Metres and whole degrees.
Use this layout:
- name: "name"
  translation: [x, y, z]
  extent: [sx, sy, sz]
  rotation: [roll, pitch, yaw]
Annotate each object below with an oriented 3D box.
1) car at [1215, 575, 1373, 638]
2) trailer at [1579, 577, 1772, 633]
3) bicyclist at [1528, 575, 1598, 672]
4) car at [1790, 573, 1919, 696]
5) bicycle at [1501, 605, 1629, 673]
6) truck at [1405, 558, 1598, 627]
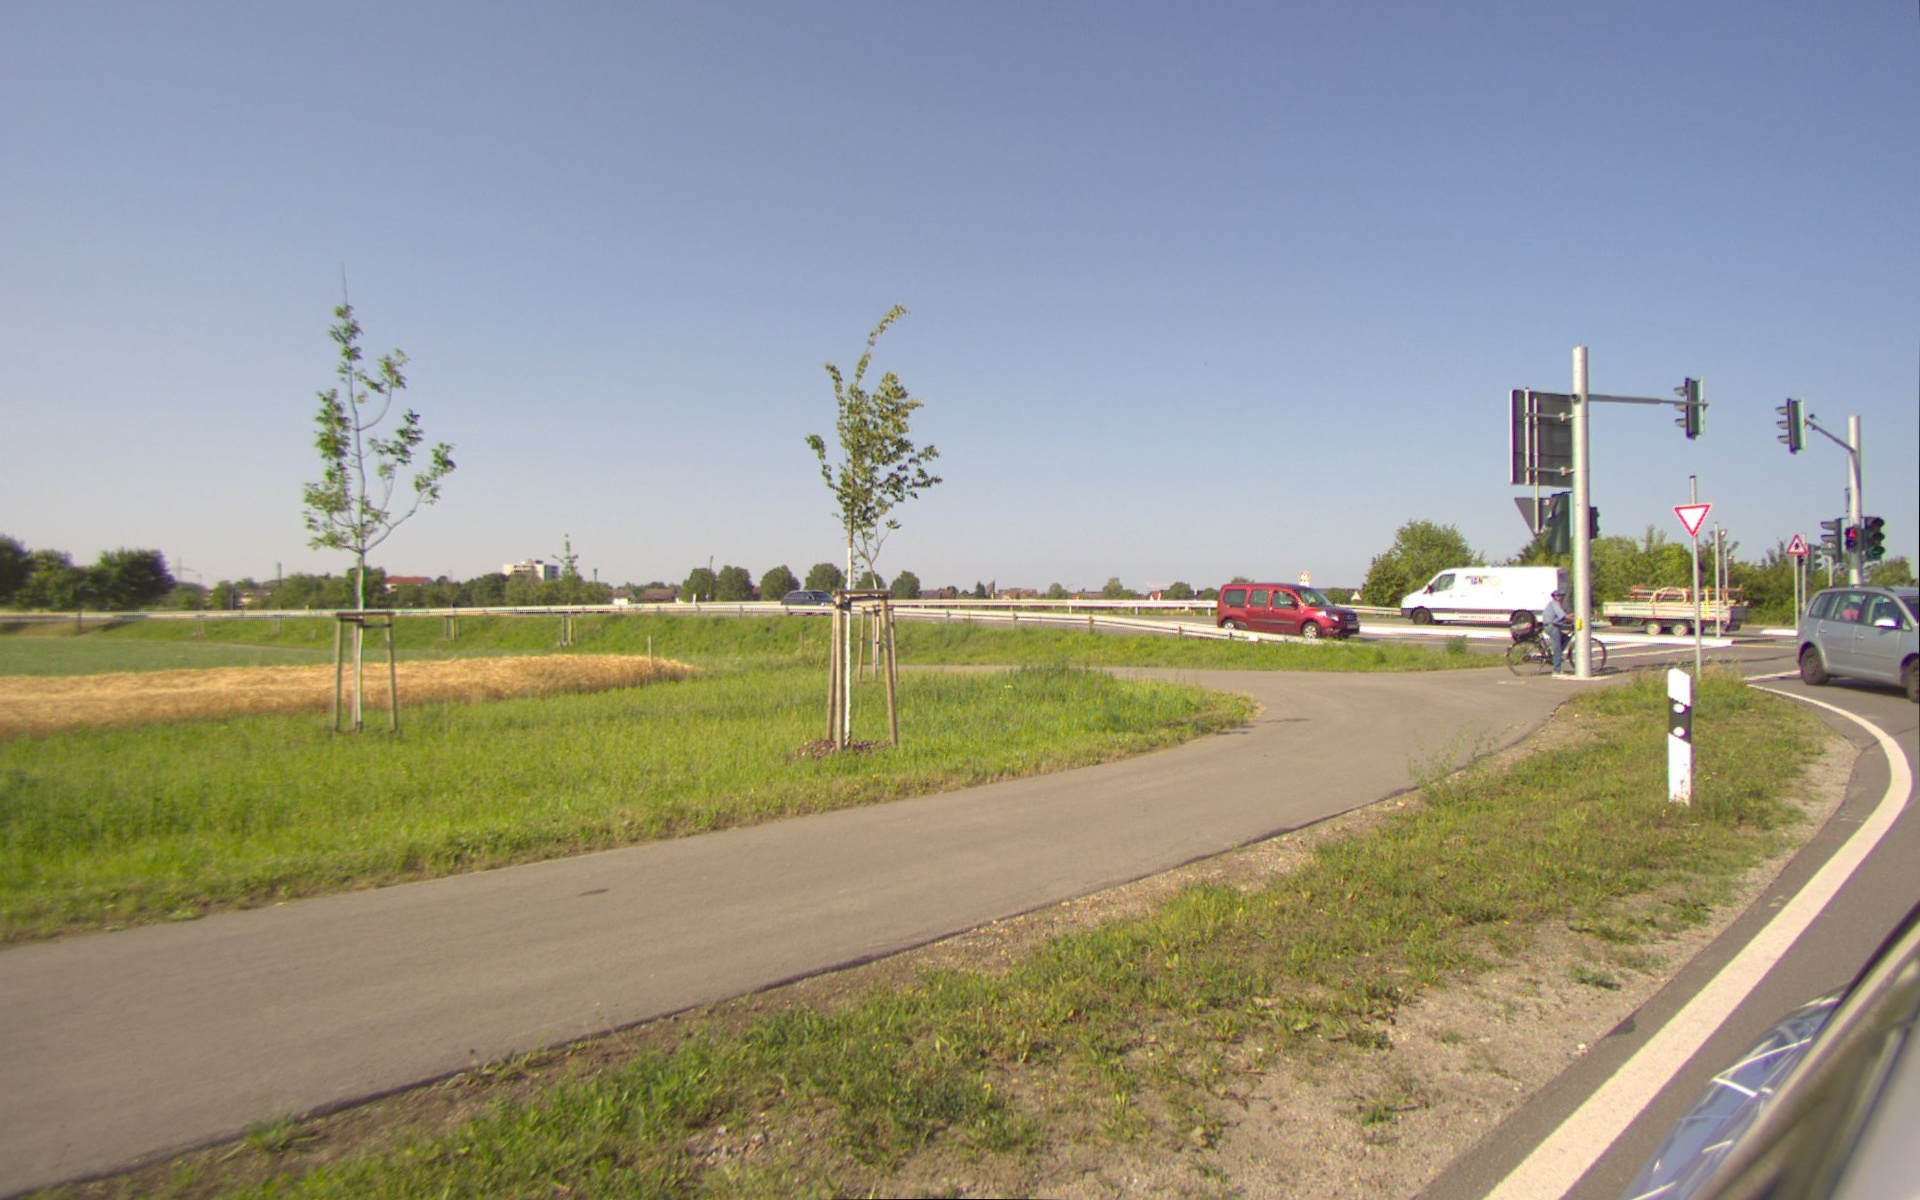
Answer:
- name: "car"
  translation: [10.500, 0.184, 32.141]
  extent: [1.662, 1.860, 4.697]
  rotation: [0, 0, -36]
- name: "trailer"
  translation: [24.124, 0.100, 34.316]
  extent: [1.944, 1.759, 5.011]
  rotation: [0, 1, -36]
- name: "bicyclist"
  translation: [11.521, 0.438, 19.357]
  extent: [0.902, 1.787, 0.618]
  rotation: [-3, 1, 9]
- name: "car"
  translation: [14.495, 0.476, 15.017]
  extent: [1.731, 1.716, 4.196]
  rotation: [0, 0, 14]
- name: "bicycle"
  translation: [11.528, 0.745, 19.340]
  extent: [1.913, 1.165, 0.680]
  rotation: [-3, 1, 10]
- name: "truck"
  translation: [20.478, -0.338, 38.558]
  extent: [6.180, 2.435, 2.038]
  rotation: [1, 1, 45]
